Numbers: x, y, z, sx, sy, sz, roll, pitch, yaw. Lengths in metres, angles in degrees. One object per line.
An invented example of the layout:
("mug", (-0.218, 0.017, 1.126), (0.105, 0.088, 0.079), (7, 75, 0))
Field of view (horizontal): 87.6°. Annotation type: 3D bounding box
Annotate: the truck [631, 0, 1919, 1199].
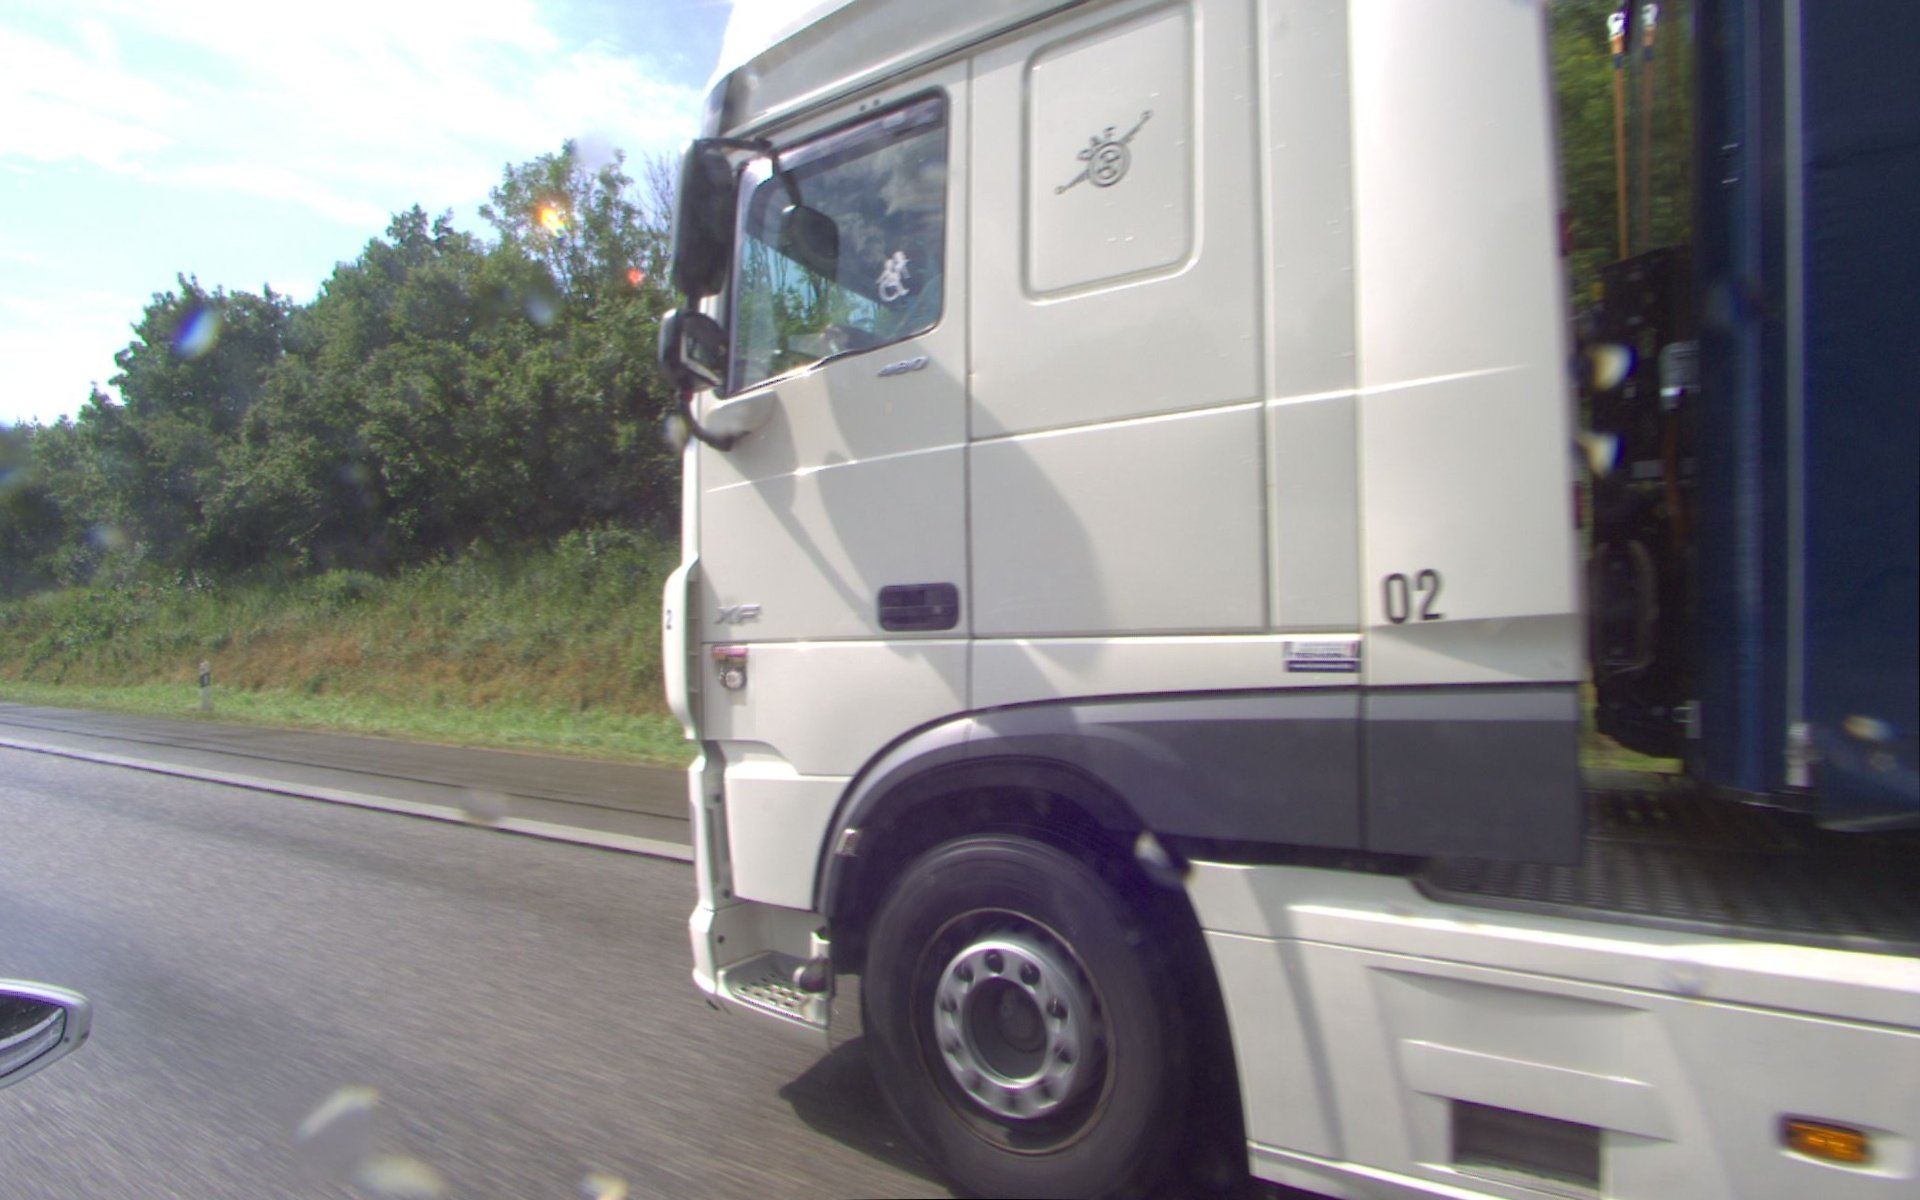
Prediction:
("truck", (2.700, -0.520, 2.276), (7.186, 4.046, 2.602), (-1, -2, 32))
